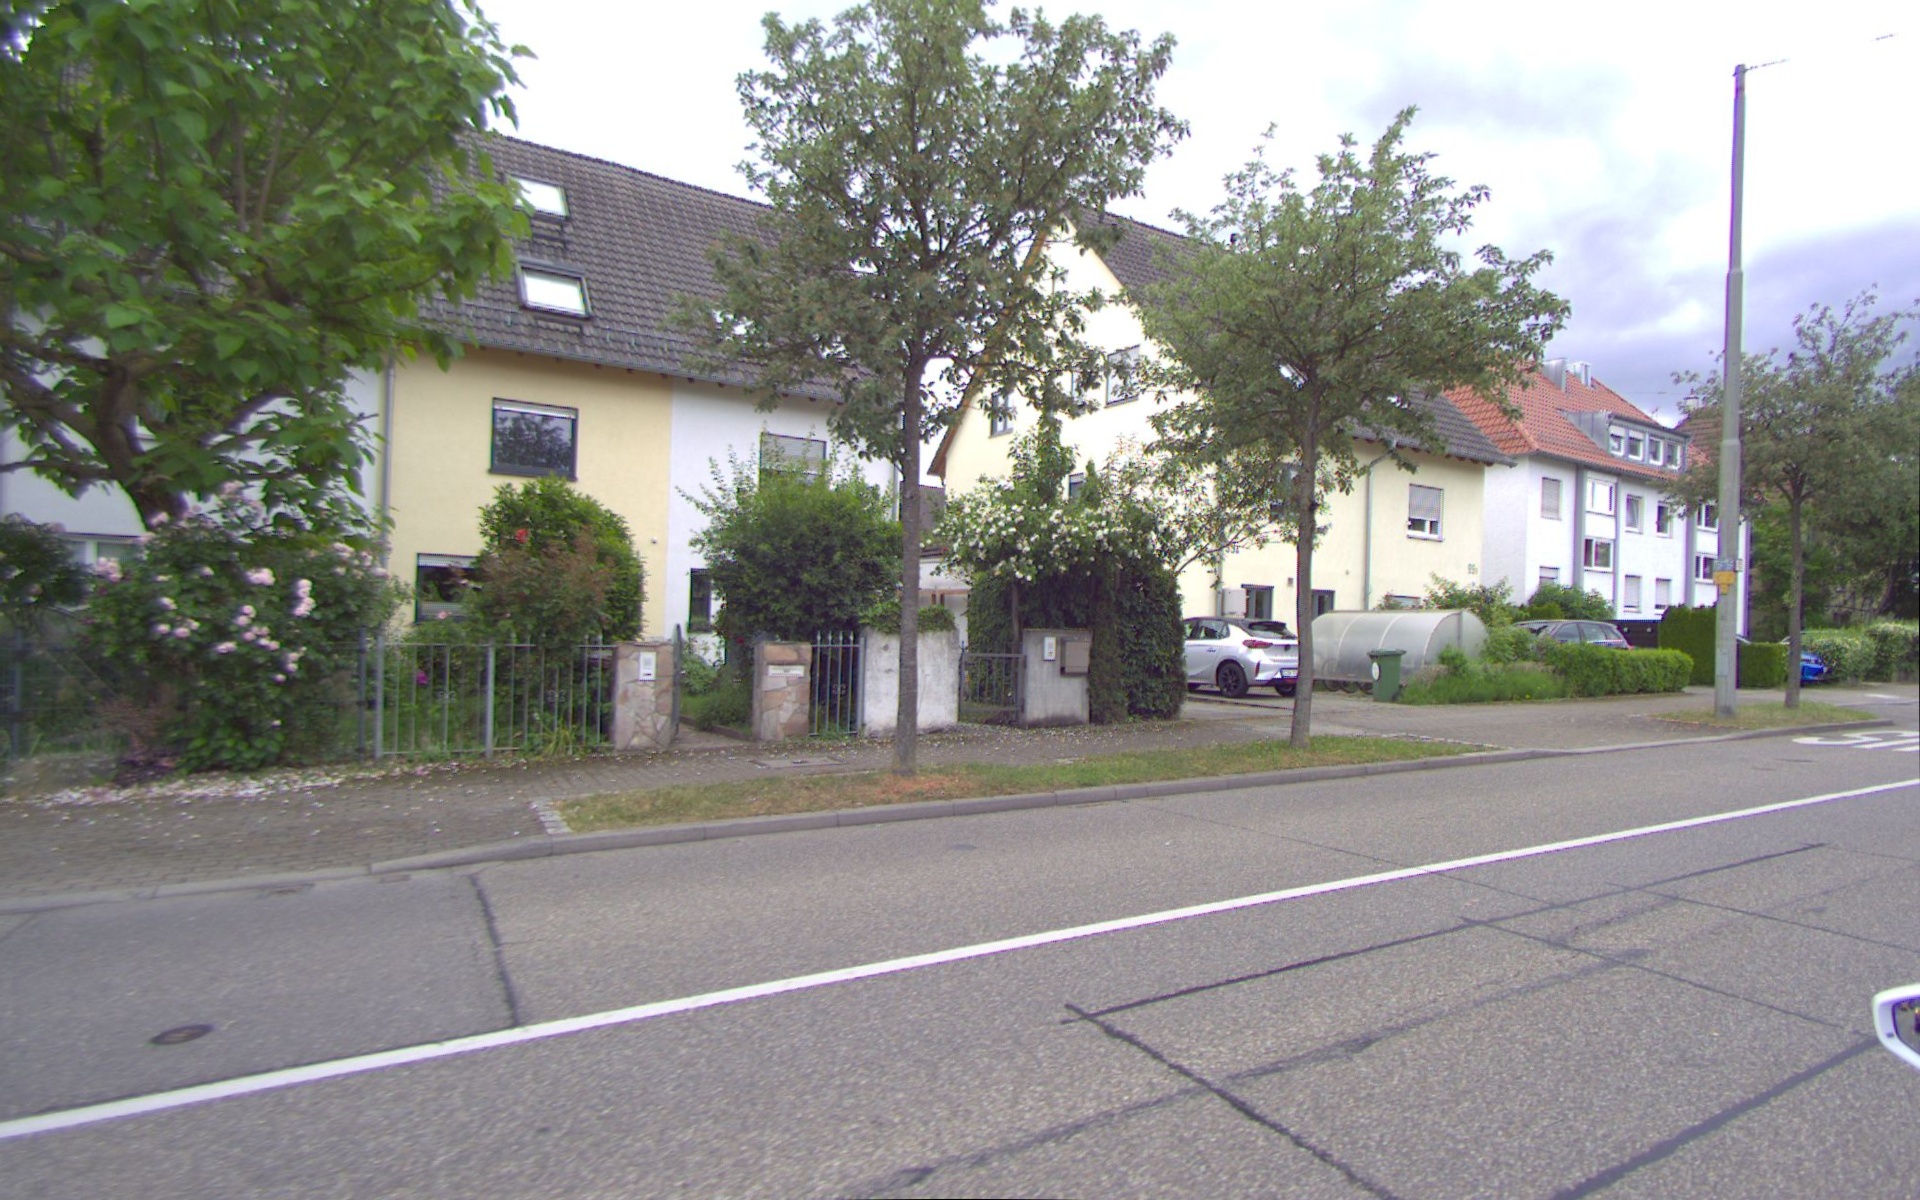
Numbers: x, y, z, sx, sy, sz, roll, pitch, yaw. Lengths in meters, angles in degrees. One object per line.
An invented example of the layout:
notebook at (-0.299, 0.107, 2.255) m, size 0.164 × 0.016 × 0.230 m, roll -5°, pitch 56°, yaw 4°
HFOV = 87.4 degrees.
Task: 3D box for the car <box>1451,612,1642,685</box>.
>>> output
car at (13.133, 1.094, 22.462) m, size 3.950 × 1.436 × 1.869 m, roll 3°, pitch 0°, yaw -28°

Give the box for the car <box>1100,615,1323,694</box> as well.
car at (4.644, 0.967, 19.108) m, size 1.736 × 1.303 × 4.043 m, roll 2°, pitch -1°, yaw -32°

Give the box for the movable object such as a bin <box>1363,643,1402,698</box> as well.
movable object such as a bin at (7.462, 1.240, 17.755) m, size 0.535 × 0.914 × 0.579 m, roll 1°, pitch 0°, yaw 13°

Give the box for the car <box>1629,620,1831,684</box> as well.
car at (20.155, 1.337, 26.419) m, size 1.565 × 1.356 × 3.953 m, roll 4°, pitch 0°, yaw -40°
